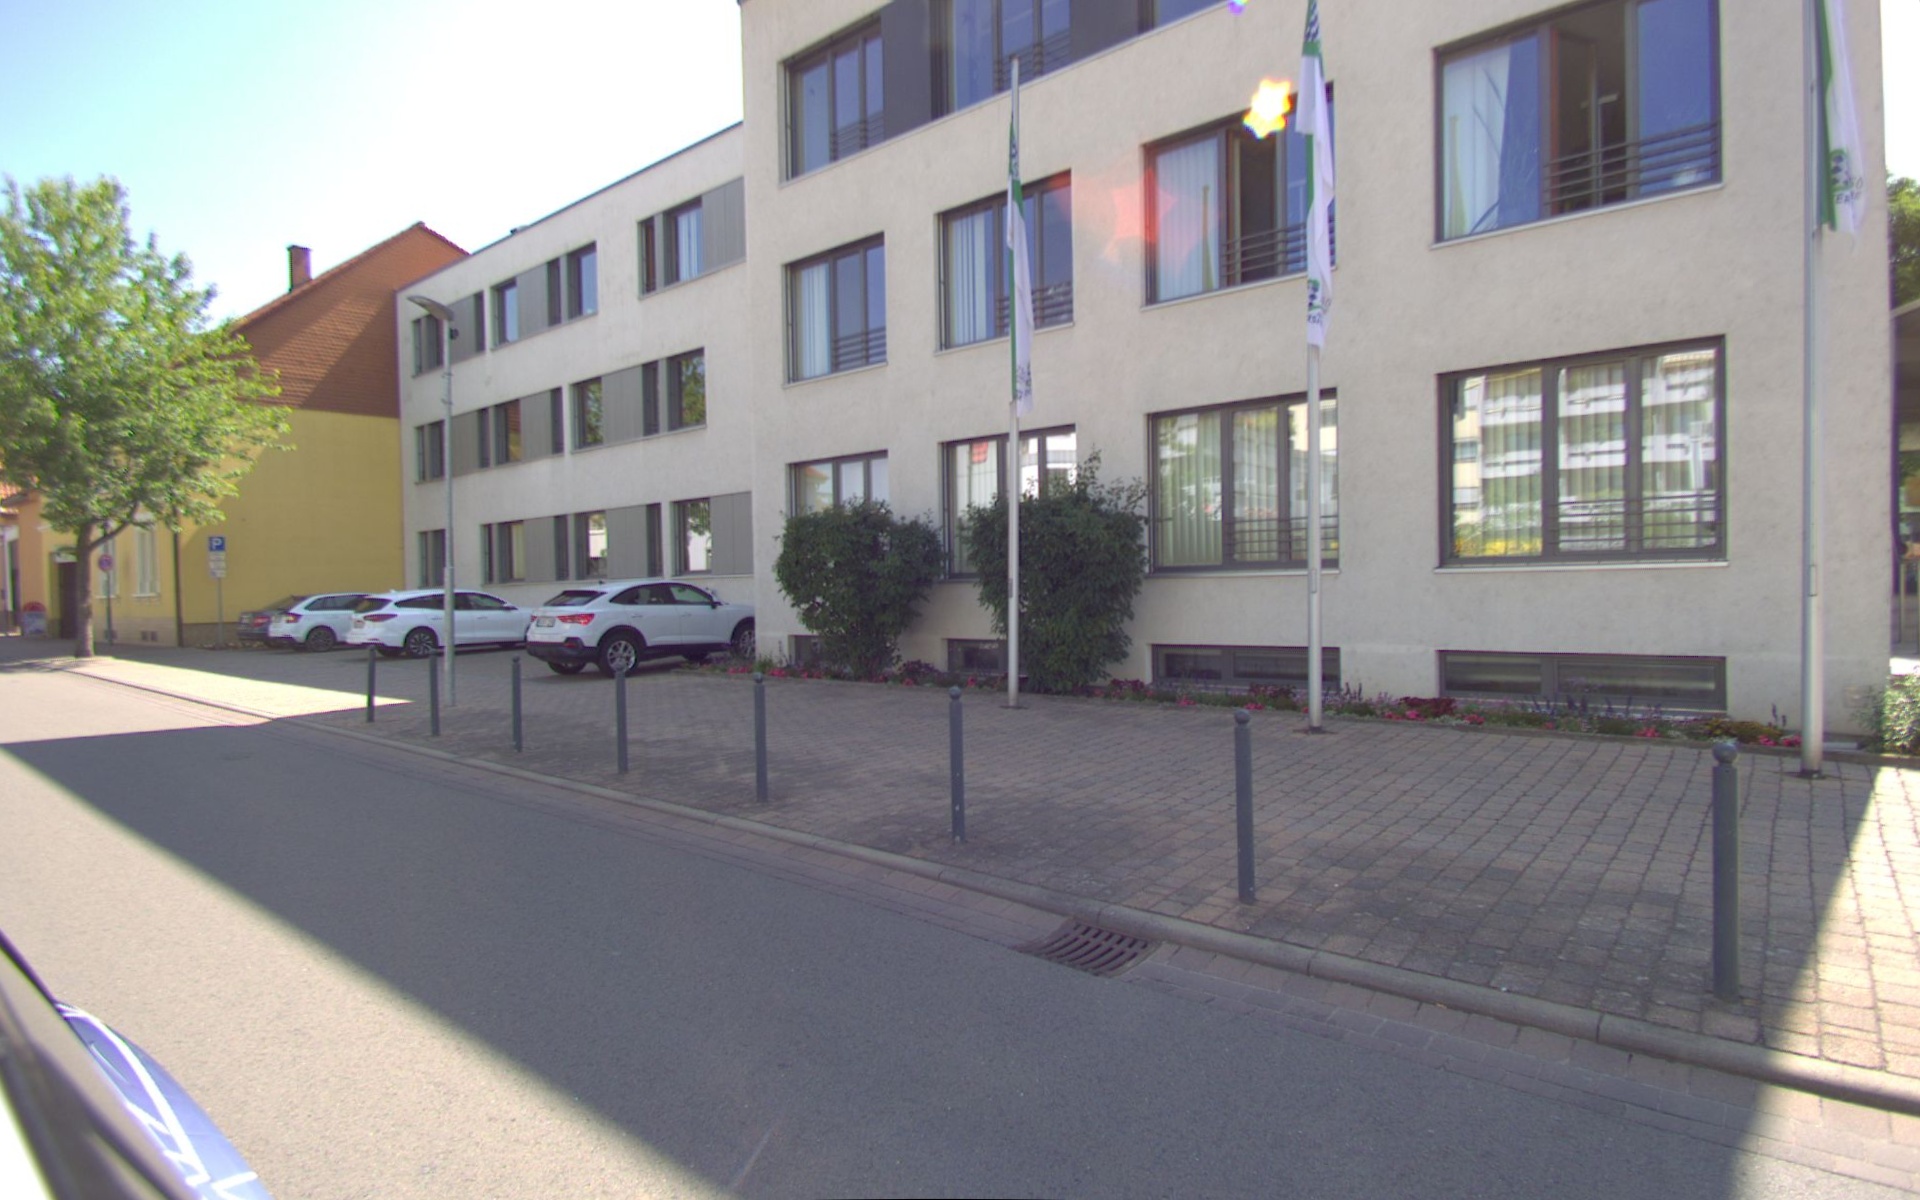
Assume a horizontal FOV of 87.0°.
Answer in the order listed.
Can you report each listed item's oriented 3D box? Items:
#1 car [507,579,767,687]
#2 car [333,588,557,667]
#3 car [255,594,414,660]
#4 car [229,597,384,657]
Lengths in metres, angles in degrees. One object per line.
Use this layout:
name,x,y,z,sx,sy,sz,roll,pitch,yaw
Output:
car,-5.455,0.480,17.496,1.747,1.559,3.949,-1,2,38
car,-11.595,0.545,23.030,1.512,1.490,4.270,0,2,40
car,-15.958,0.642,25.899,1.642,1.461,3.099,-1,2,41
car,-17.611,0.679,27.365,1.373,1.412,3.218,-1,2,38
